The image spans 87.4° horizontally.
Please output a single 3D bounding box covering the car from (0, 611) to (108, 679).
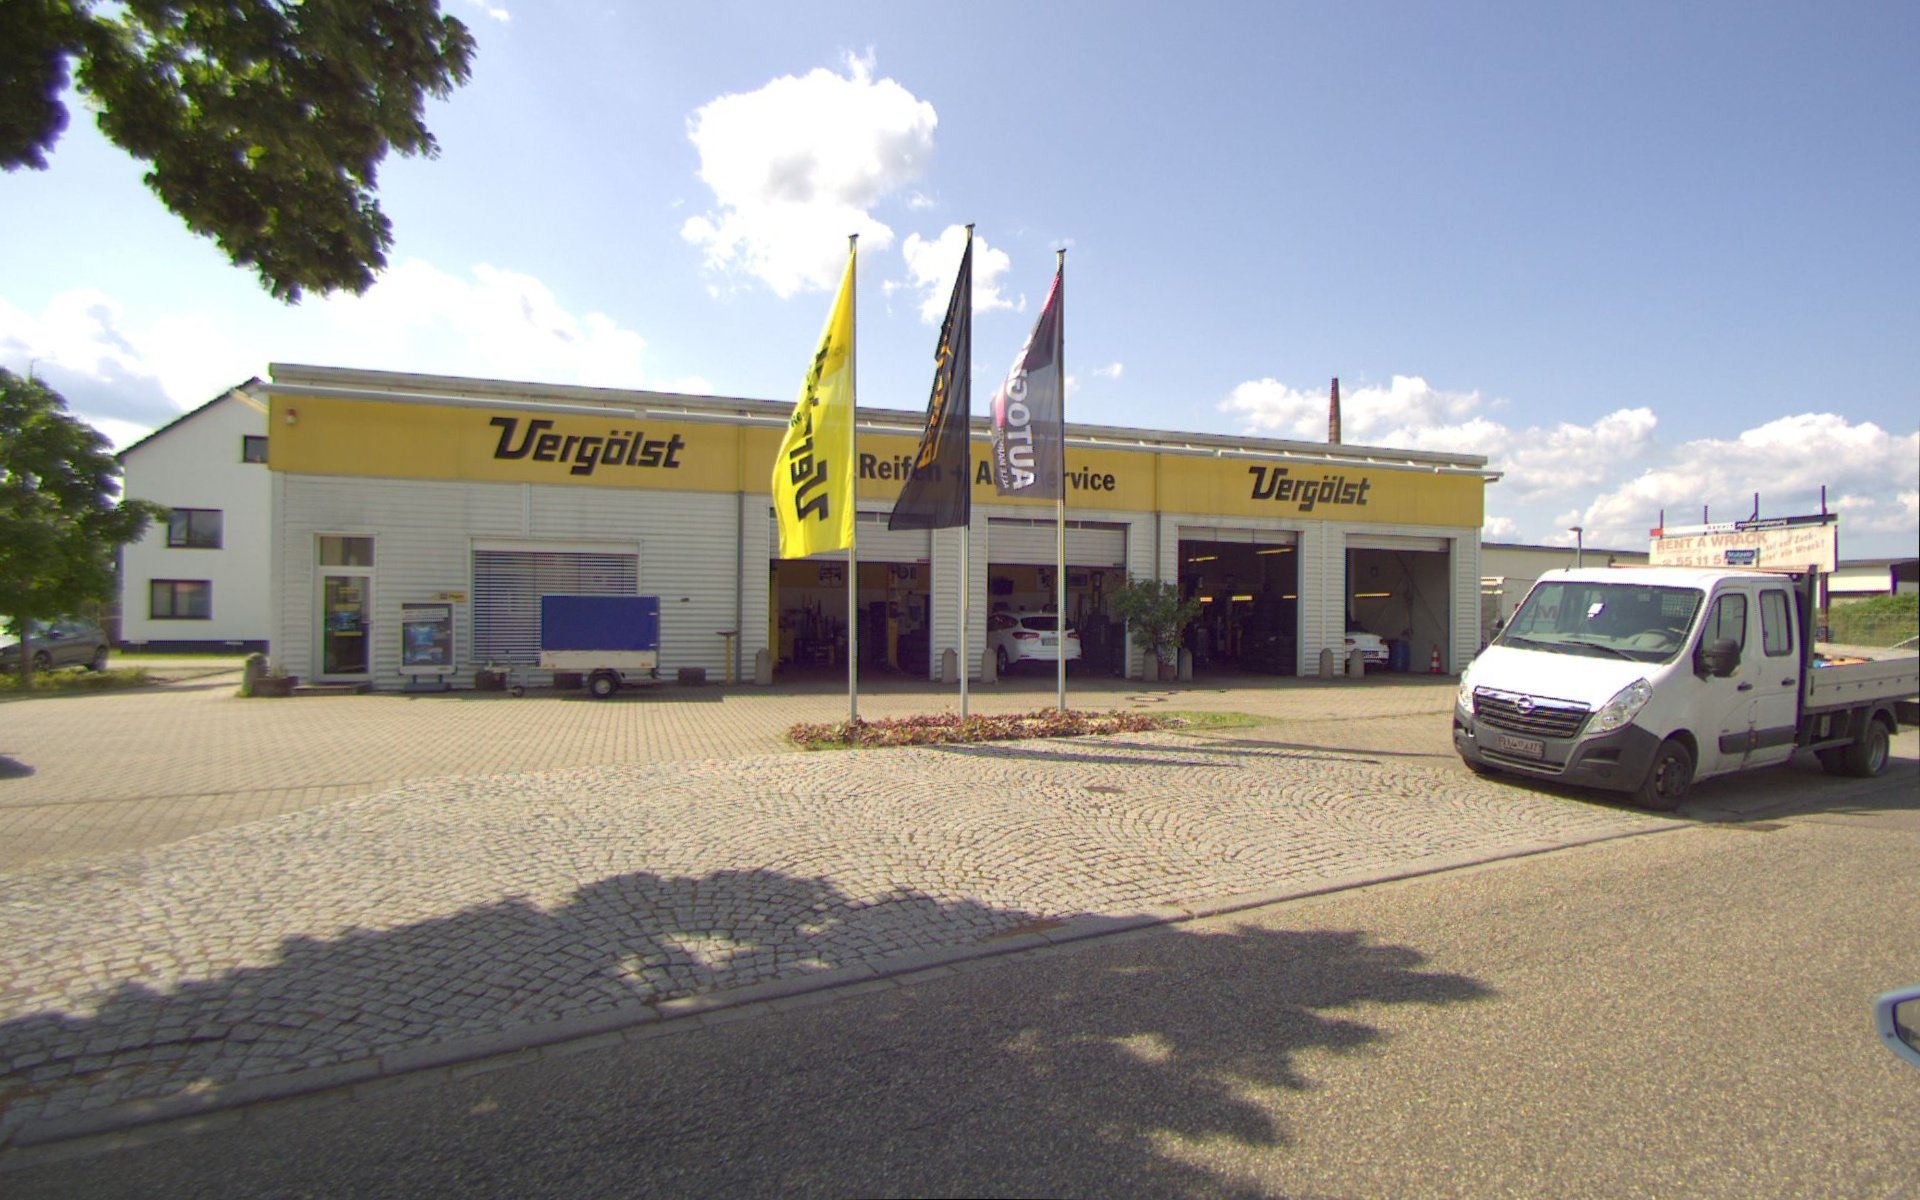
[{"bbox_3d":[-22.122,1.000,23.584,1.970,1.466,3.981,1,-1,-21],"label":"car"}]

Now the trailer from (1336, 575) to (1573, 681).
[{"bbox_3d":[14.914,0.806,30.921,2.717,2.890,6.509,1,-1,-20],"label":"trailer"}]

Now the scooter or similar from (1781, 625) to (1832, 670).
[{"bbox_3d":[25.475,1.416,30.232,0.864,1.292,0.898,0,-1,15],"label":"scooter or similar"}]

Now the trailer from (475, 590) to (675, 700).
[{"bbox_3d":[-6.292,0.736,16.682,2.920,1.714,1.267,2,0,-15],"label":"trailer"}]

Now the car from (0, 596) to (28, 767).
[{"bbox_3d":[-10.083,0.639,9.001,3.782,1.432,1.853,2,0,36],"label":"car"}]

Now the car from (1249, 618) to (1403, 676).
[{"bbox_3d":[9.923,1.229,27.559,1.947,1.419,3.984,0,-1,-18],"label":"car"}]

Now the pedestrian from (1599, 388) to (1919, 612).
[{"bbox_3d":[9.362,-0.944,11.378,3.953,2.040,1.984,2,0,-30],"label":"pedestrian"}]

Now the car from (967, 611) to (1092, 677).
[{"bbox_3d":[1.565,0.994,24.014,1.762,1.456,3.569,1,-1,-18],"label":"car"}]

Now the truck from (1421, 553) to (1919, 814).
[{"bbox_3d":[8.567,0.750,11.405,7.259,2.269,2.118,1,2,-29],"label":"truck"}]

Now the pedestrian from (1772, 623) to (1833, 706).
[{"bbox_3d":[16.388,1.235,19.540,0.907,1.566,0.657,1,-1,-30],"label":"pedestrian"}]
